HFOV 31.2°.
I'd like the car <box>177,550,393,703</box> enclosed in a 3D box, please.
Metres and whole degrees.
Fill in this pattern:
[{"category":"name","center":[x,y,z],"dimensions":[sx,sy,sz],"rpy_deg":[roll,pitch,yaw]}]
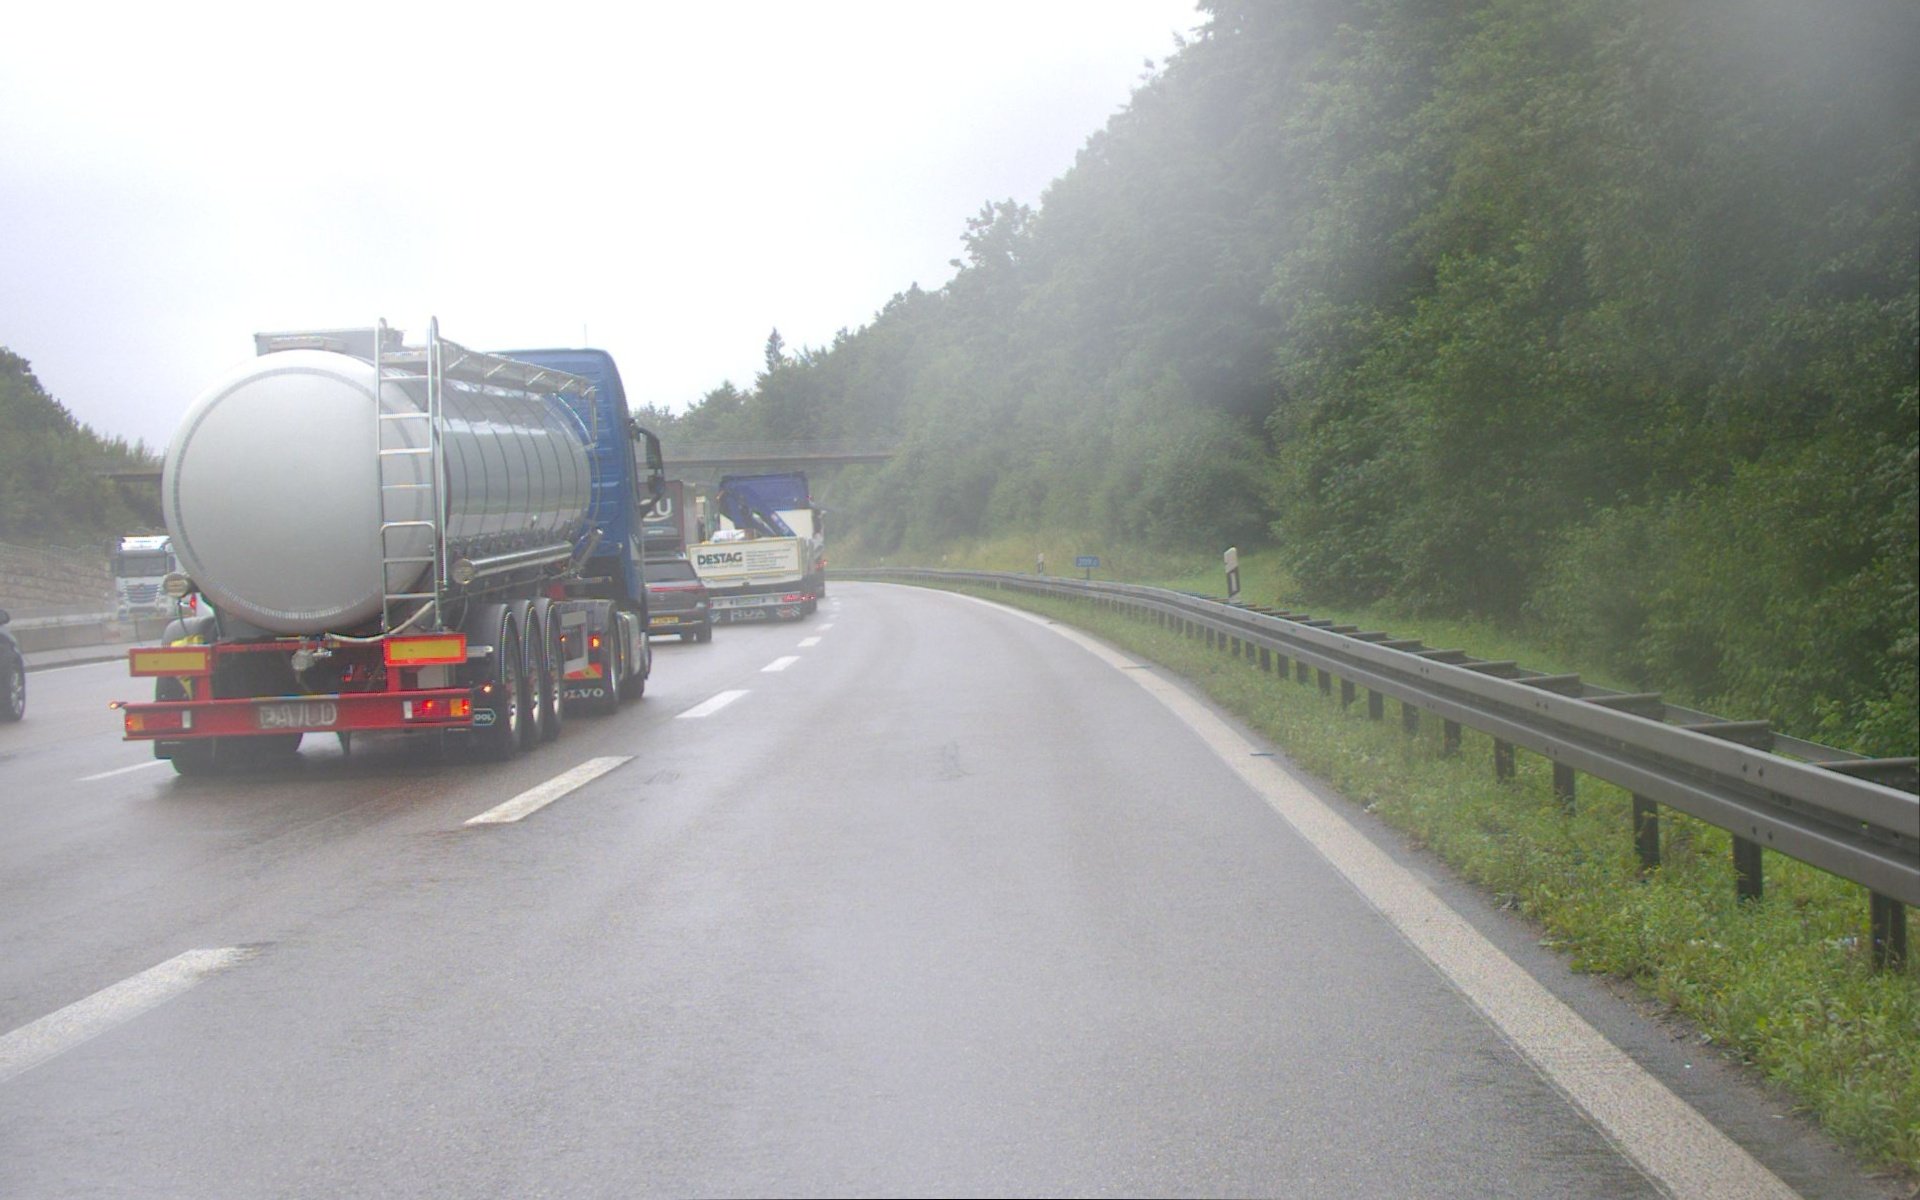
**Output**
[{"category":"car","center":[-8.271,0.295,42.432],"dimensions":[1.819,1.761,4.000],"rpy_deg":[-1,0,0]}]

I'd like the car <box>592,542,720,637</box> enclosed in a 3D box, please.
[{"category":"car","center":[-5.505,-0.163,62.746],"dimensions":[1.993,1.630,4.000],"rpy_deg":[1,-1,-1]}]

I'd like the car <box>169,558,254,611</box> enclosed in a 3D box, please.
[{"category":"car","center":[-28.592,-0.579,131.470],"dimensions":[2.051,1.872,5.247],"rpy_deg":[1,-1,0]}]

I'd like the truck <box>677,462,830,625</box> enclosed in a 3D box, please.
[{"category":"truck","center":[-5.795,-1.495,98.562],"dimensions":[3.507,4.253,10.602],"rpy_deg":[1,-1,1]}]

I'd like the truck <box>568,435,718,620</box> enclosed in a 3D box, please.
[{"category":"truck","center":[-10.039,-2.186,110.143],"dimensions":[3.754,5.480,10.172],"rpy_deg":[1,-1,0]}]

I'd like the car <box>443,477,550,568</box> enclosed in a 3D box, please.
[{"category":"car","center":[-10.250,-1.698,76.217],"dimensions":[1.797,1.832,4.000],"rpy_deg":[1,-1,0]}]

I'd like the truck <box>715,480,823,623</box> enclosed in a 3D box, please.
[{"category":"truck","center":[-8.113,-1.958,147.062],"dimensions":[4.336,5.744,9.731],"rpy_deg":[1,-1,-2]}]

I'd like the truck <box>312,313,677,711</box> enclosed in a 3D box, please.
[{"category":"truck","center":[-4.635,-0.879,35.243],"dimensions":[2.877,3.681,5.056],"rpy_deg":[-2,1,1]}]

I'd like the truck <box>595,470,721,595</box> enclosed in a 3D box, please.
[{"category":"truck","center":[-10.929,-2.373,125.613],"dimensions":[3.576,4.081,10.879],"rpy_deg":[-2,-1,0]}]

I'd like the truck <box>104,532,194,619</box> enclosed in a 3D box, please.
[{"category":"truck","center":[-37.909,-1.159,160.921],"dimensions":[2.450,3.935,7.238],"rpy_deg":[-1,1,0]}]

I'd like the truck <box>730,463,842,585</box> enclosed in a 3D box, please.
[{"category":"truck","center":[-6.247,-2.664,125.381],"dimensions":[3.754,3.957,11.059],"rpy_deg":[1,-1,-2]}]

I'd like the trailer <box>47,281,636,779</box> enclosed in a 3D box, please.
[{"category":"trailer","center":[-4.670,-0.555,28.375],"dimensions":[2.873,3.277,10.078],"rpy_deg":[-2,1,0]}]

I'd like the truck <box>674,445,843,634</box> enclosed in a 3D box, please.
[{"category":"truck","center":[-4.715,-1.431,82.711],"dimensions":[3.600,4.091,11.561],"rpy_deg":[-2,1,-2]}]

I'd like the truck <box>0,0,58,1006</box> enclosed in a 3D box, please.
[{"category":"truck","center":[-4.725,-0.377,5.744],"dimensions":[2.831,3.576,11.797],"rpy_deg":[-3,0,2]}]
